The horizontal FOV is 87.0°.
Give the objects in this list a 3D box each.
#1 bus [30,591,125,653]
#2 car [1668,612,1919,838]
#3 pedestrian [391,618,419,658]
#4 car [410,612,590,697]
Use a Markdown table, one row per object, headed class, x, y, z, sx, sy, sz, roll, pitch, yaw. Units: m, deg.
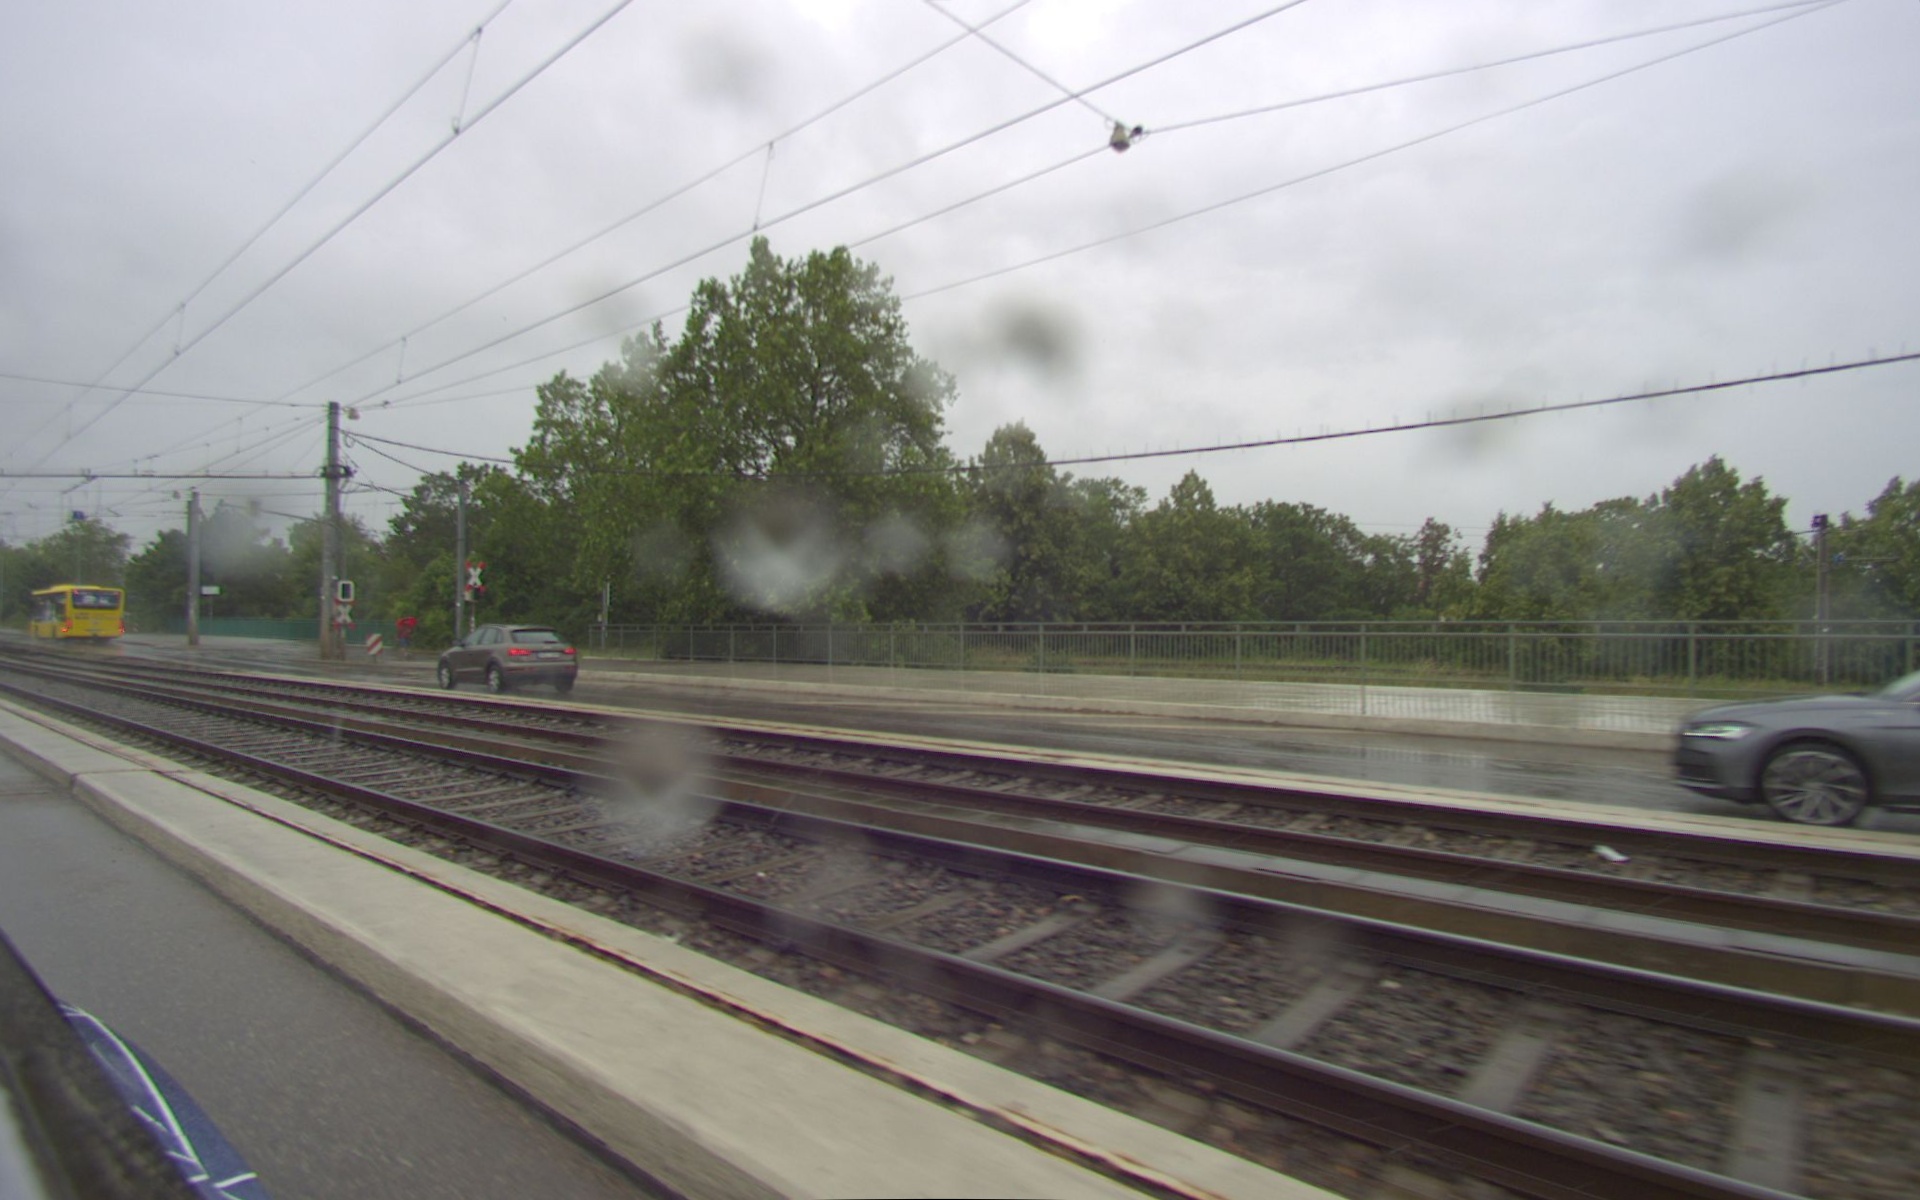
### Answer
| class | x | y | z | sx | sy | sz | roll | pitch | yaw |
| --- | --- | --- | --- | --- | --- | --- | --- | --- | --- |
| bus | -52.476 | 1.442 | 60.063 | 10.986 | 3.367 | 2.680 | -3 | -4 | 41 |
| car | 8.071 | 0.917 | 6.984 | 5.108 | 1.520 | 1.974 | 1 | -2 | 39 |
| pedestrian | -26.170 | 1.778 | 47.722 | 1.042 | 1.832 | 0.856 | 0 | 1 | 39 |
| car | -10.959 | 1.228 | 23.943 | 4.939 | 1.730 | 1.973 | 1 | -2 | 41 |
